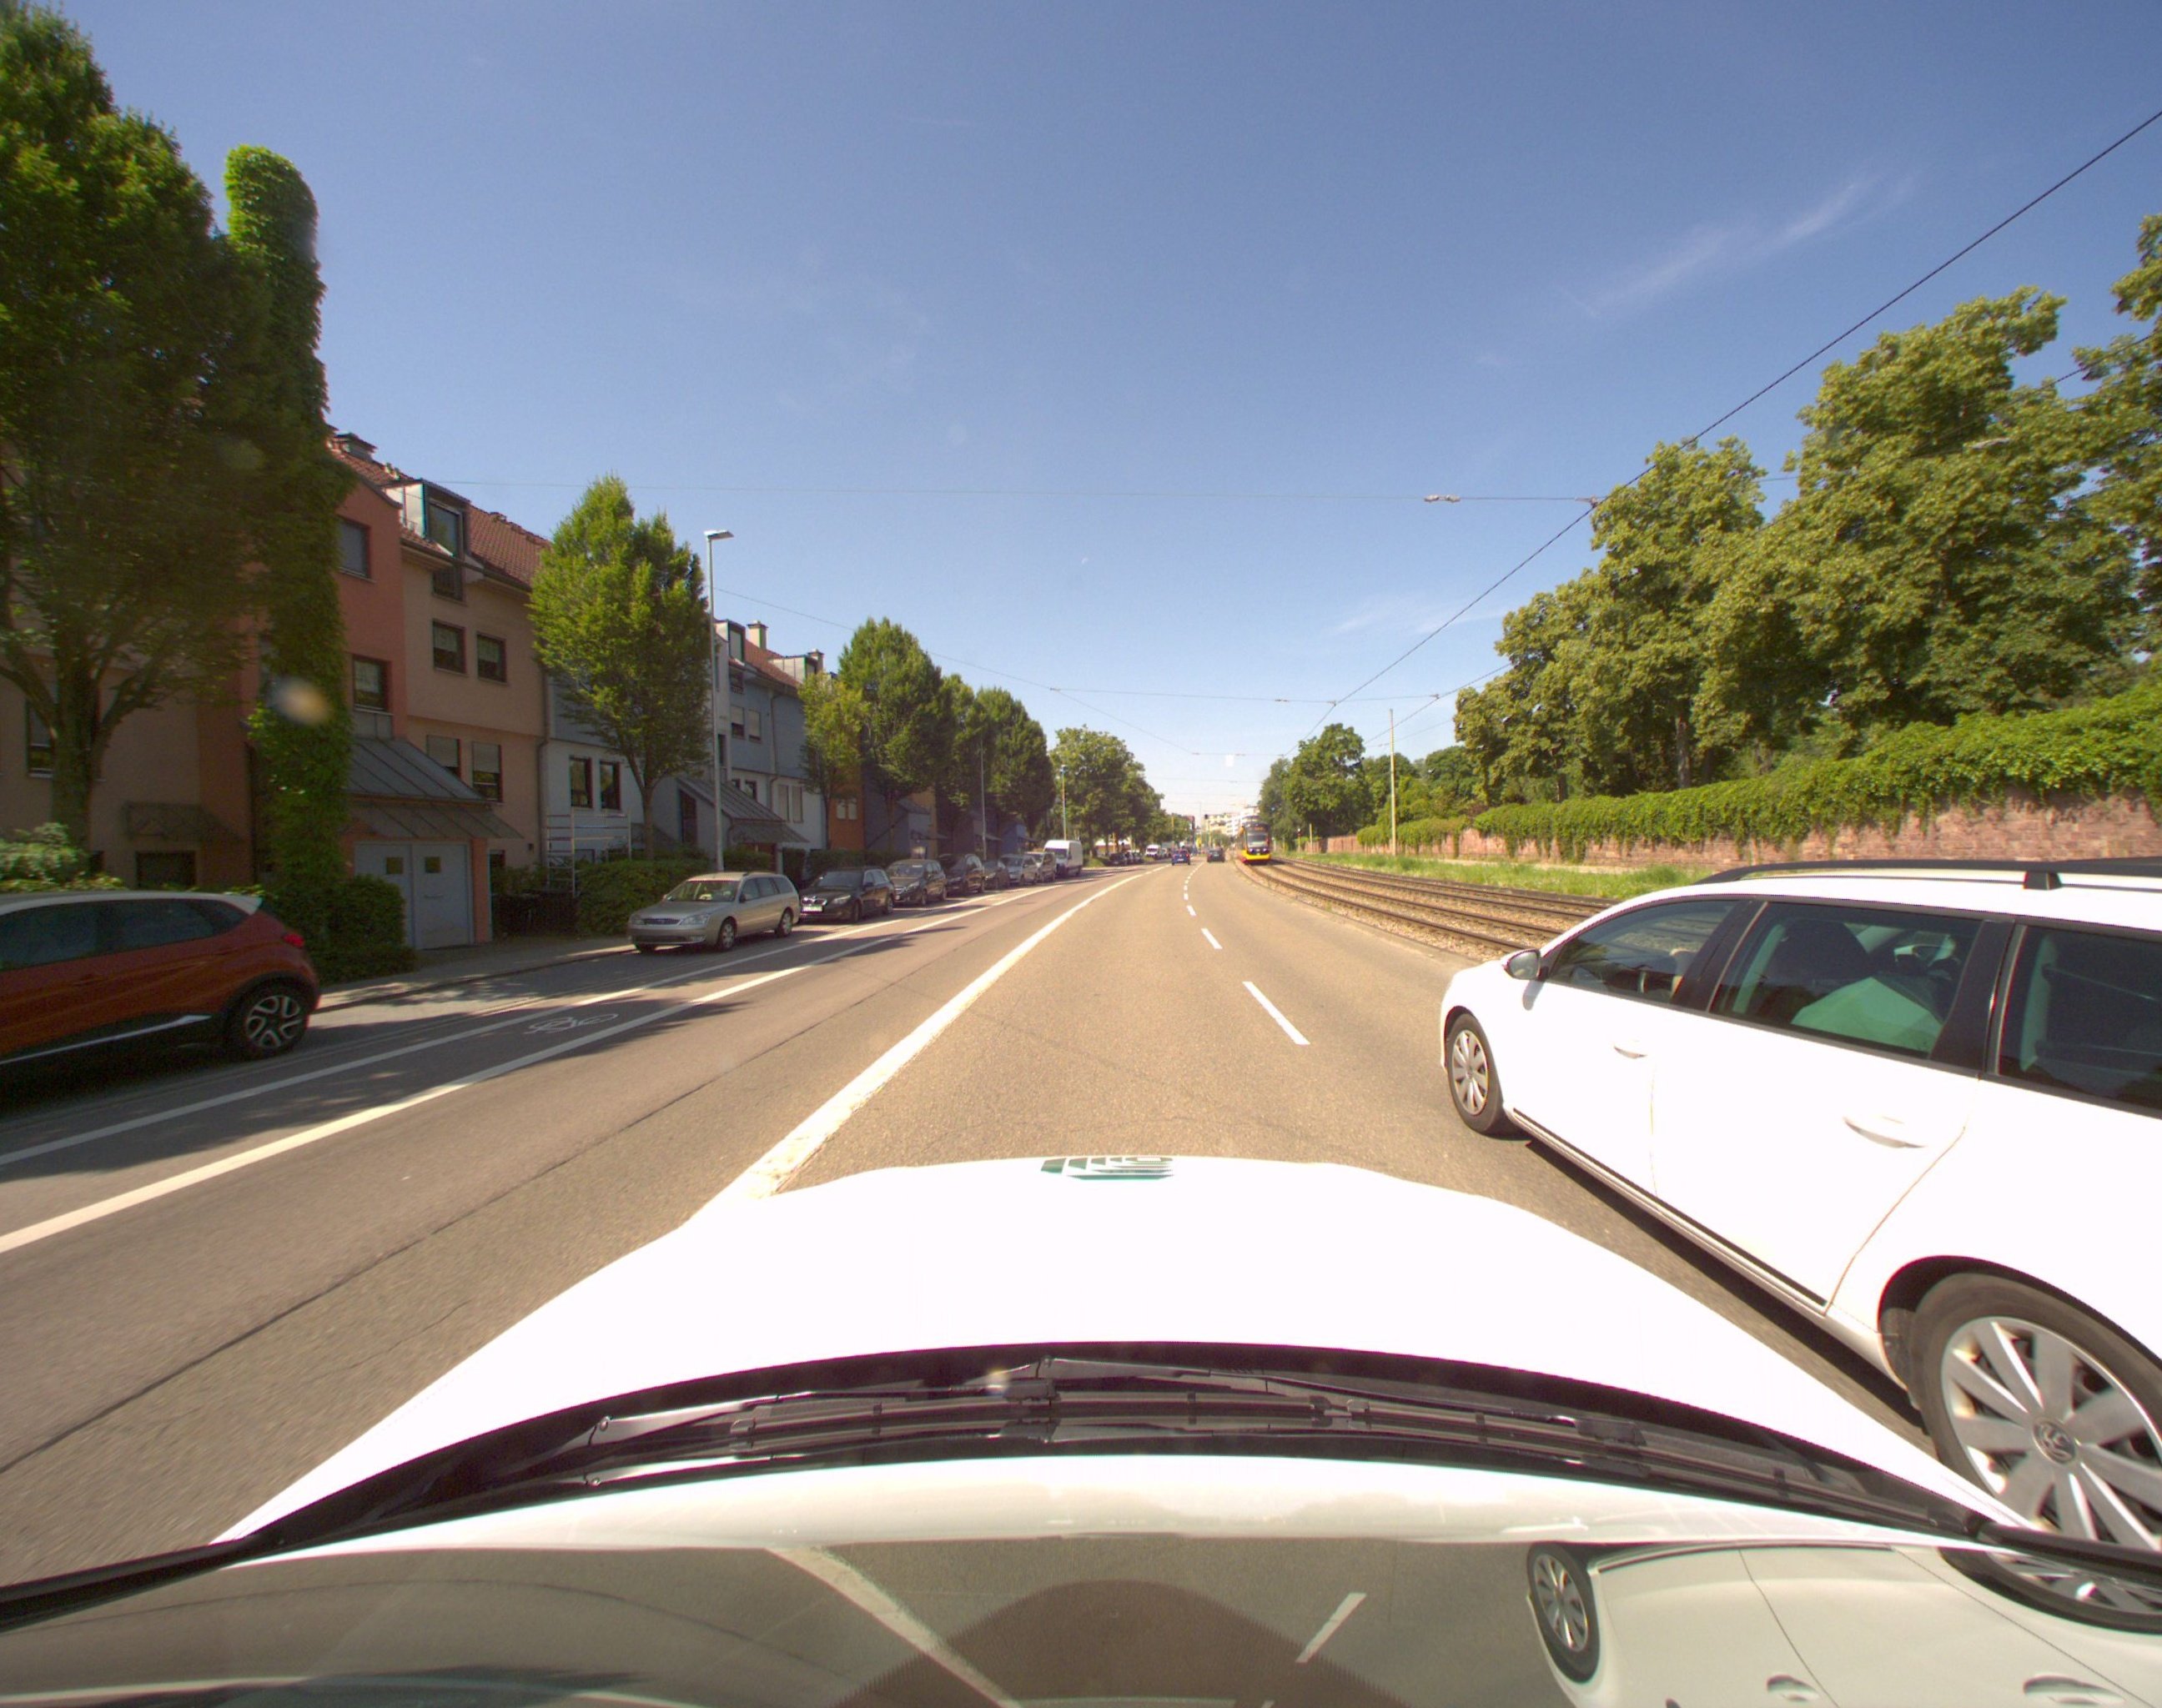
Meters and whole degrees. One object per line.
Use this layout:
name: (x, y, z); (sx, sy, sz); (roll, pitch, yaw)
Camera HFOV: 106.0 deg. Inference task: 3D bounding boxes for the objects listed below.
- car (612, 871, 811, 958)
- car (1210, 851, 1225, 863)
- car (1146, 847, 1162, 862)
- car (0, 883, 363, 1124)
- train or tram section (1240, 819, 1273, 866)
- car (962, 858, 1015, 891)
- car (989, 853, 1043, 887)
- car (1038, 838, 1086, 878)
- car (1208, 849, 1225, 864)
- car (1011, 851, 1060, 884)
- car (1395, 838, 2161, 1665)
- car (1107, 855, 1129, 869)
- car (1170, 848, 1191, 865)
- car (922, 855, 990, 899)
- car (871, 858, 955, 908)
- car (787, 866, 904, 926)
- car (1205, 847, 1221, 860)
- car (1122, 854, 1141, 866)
car: (-7.492, 1.137, 17.143); (1.773, 1.483, 4.860); (-1, 0, 3)
car: (16.801, 0.339, 100.145); (1.790, 1.460, 4.010); (-2, 0, 9)
car: (12.177, 0.074, 135.988); (1.867, 2.415, 5.134); (-2, 0, 13)
car: (-8.290, 1.096, 6.173); (1.724, 1.551, 4.321); (-1, 0, 2)
train or tram section: (15.772, -1.005, 73.661); (2.495, 3.747, 13.352); (-2, 0, 11)
car: (-4.522, 0.967, 40.483); (1.681, 1.474, 4.057); (1, 0, 7)
car: (-3.564, 0.847, 45.519); (1.789, 1.724, 4.924); (1, 0, 10)
car: (-1.273, 0.290, 59.478); (1.982, 2.714, 7.178); (1, 0, 11)
car: (14.251, 0.220, 85.688); (1.790, 1.507, 4.011); (-1, 1, 9)
car: (-2.760, 0.787, 51.184); (1.908, 1.948, 5.368); (1, 0, 10)
car: (2.808, 0.698, 2.980); (1.685, 1.451, 4.460); (-2, 0, 2)
car: (4.093, 0.877, 89.290); (1.688, 1.417, 4.014); (-2, 0, 13)
car: (9.399, 0.238, 76.621); (1.790, 1.507, 4.011); (-1, 1, 9)
car: (-5.278, 0.912, 34.966); (1.761, 1.723, 4.877); (0, 0, 5)
car: (-5.984, 0.988, 29.529); (1.708, 1.625, 4.320); (-1, 0, 6)
car: (-6.658, 1.122, 23.598); (1.715, 1.474, 4.720); (0, 0, 4)
car: (15.060, -0.088, 92.871); (1.790, 1.460, 4.011); (-1, 1, 9)
car: (6.375, 0.721, 102.137); (1.688, 1.352, 4.014); (-2, 0, 13)
